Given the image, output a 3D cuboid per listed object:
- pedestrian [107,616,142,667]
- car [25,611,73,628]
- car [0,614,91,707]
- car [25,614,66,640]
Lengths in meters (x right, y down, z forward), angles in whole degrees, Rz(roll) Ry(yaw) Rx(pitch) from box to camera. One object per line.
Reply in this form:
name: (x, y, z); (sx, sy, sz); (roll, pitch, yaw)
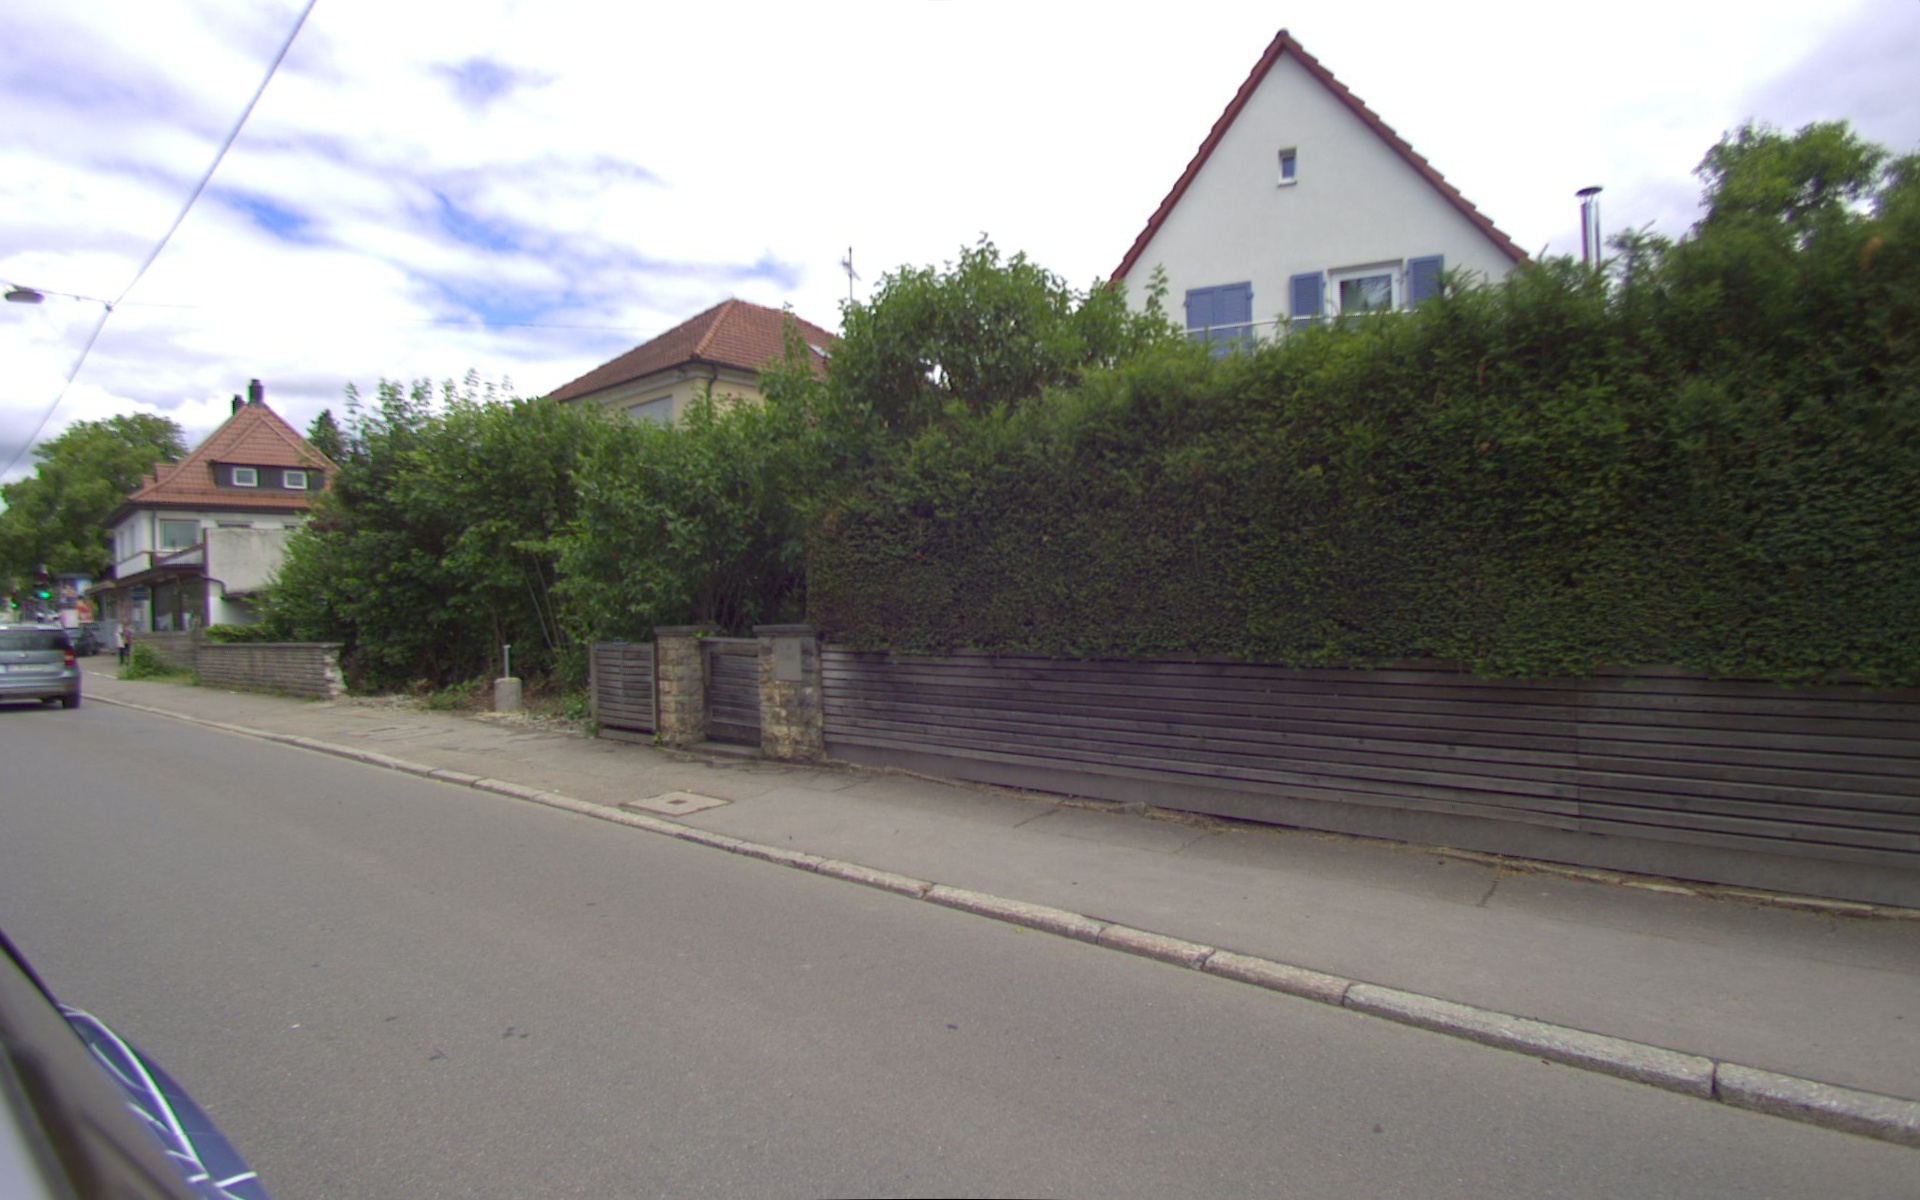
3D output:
pedestrian: (-30.111, 1.493, 36.484); (0.604, 1.757, 0.811); (-1, 2, 43)
car: (-110.180, 2.370, 122.448); (3.935, 1.752, 2.005); (-4, 2, -35)
car: (-18.543, 1.119, 19.661); (4.135, 1.668, 1.822); (-1, -3, 40)
car: (-65.636, 1.927, 72.614); (3.999, 1.690, 1.748); (-1, 2, 42)
